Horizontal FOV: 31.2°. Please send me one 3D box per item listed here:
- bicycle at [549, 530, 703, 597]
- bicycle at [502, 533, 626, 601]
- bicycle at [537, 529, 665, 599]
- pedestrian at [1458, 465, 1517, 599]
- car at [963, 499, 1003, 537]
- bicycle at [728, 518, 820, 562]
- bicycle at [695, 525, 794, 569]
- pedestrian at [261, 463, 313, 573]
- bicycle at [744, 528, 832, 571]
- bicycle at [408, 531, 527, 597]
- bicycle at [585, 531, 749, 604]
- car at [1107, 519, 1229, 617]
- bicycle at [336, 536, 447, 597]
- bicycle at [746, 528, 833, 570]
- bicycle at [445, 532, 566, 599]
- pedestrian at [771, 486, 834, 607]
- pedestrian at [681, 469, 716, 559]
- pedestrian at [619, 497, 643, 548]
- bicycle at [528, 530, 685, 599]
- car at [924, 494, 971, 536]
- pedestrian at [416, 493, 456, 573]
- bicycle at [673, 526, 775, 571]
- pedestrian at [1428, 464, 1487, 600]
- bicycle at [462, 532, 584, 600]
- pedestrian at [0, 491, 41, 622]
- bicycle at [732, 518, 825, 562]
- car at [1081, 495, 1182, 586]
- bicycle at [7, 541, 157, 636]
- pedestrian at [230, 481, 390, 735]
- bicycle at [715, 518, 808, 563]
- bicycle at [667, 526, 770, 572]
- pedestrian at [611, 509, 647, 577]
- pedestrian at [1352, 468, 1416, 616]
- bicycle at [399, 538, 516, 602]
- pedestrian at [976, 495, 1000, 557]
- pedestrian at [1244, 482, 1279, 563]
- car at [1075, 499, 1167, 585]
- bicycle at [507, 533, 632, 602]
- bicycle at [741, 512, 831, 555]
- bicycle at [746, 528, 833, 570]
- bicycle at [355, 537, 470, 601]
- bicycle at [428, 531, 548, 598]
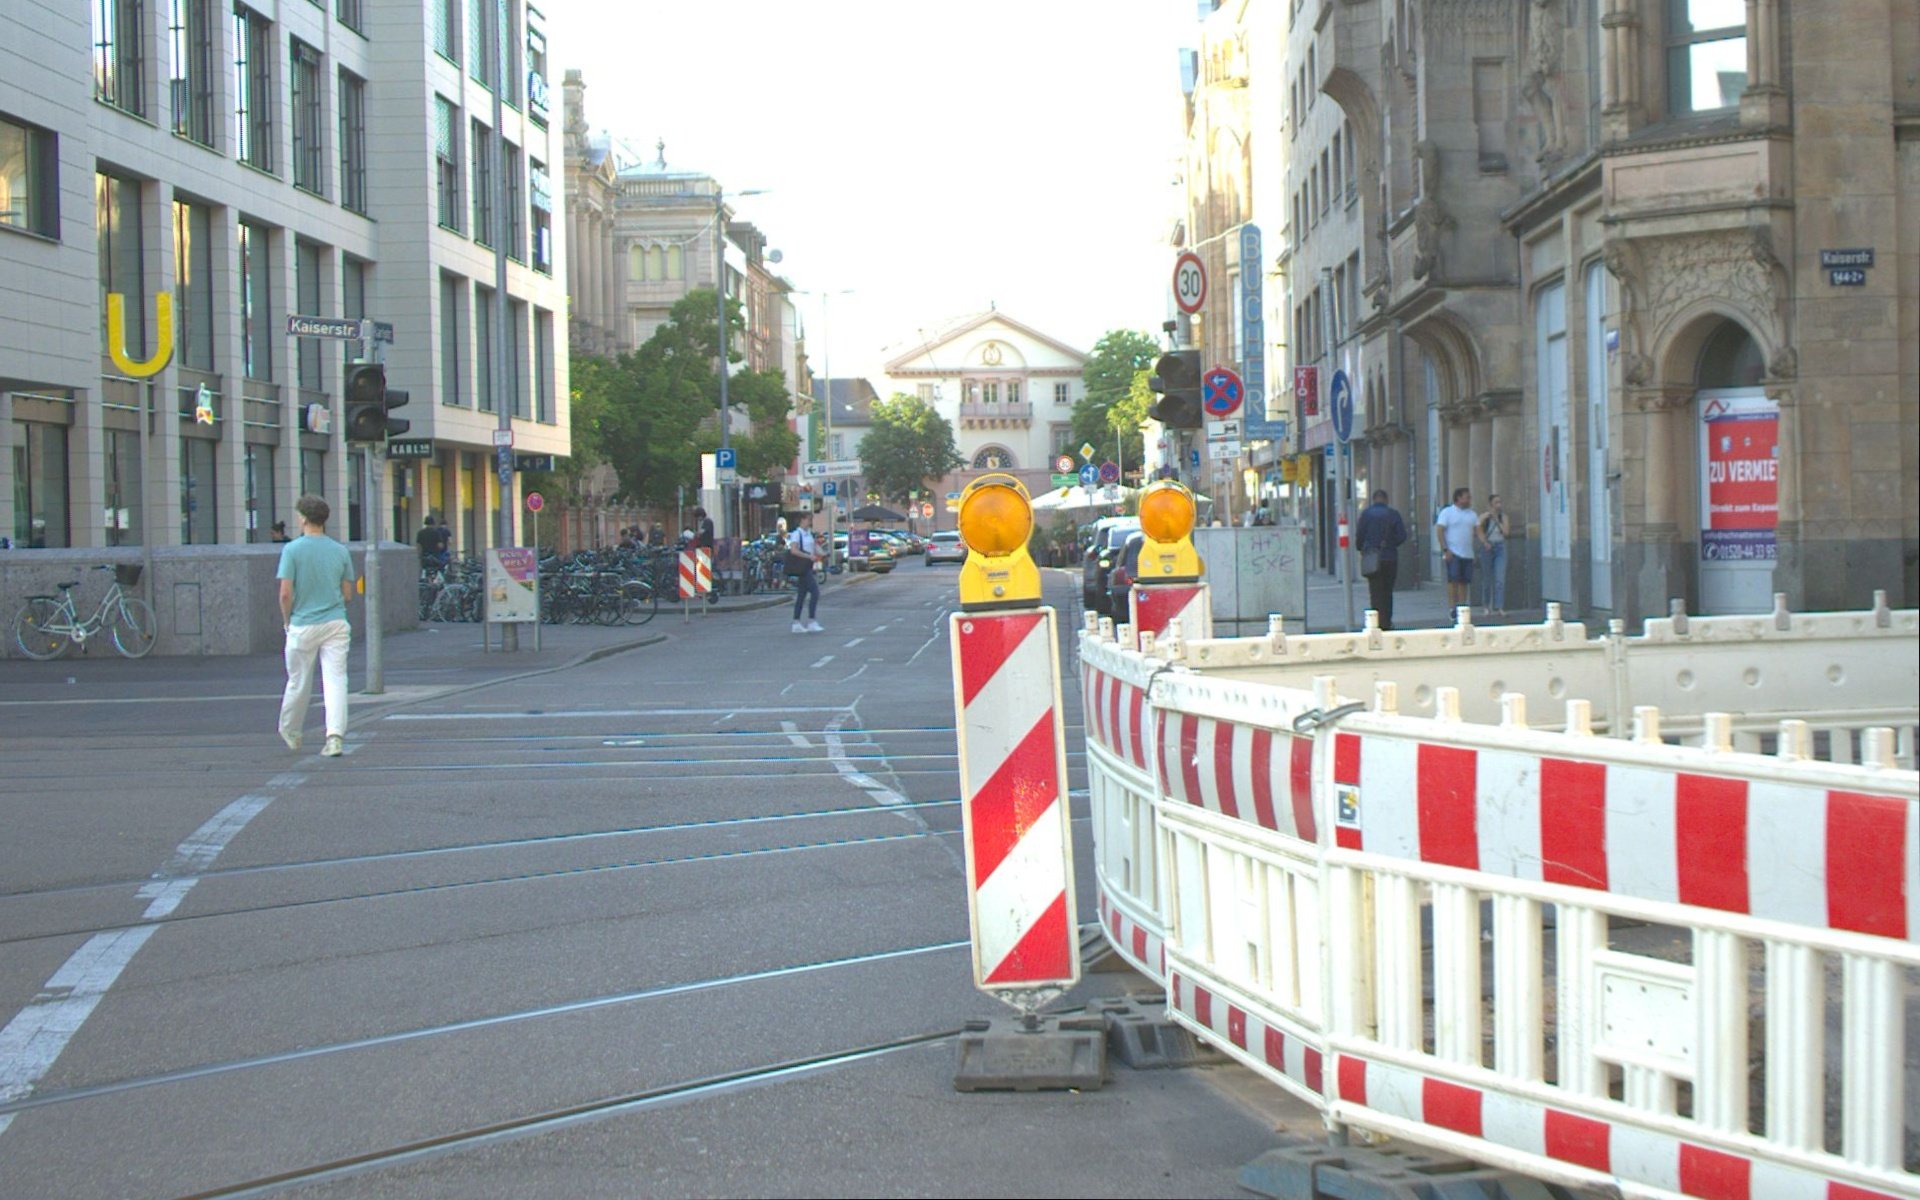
[{"bbox_3d":[-6.602,-0.731,67.986,2.886,1.251,0.804,-2,1,-24],"label":"bicycle"},{"bbox_3d":[-6.551,-0.551,56.856,1.967,1.118,0.558,0,1,-27],"label":"bicycle"},{"bbox_3d":[-5.780,-0.587,55.359,1.967,1.118,0.558,0,1,-27],"label":"bicycle"},{"bbox_3d":[6.730,-0.867,43.906,0.625,1.684,0.626,-1,1,0],"label":"pedestrian"},{"bbox_3d":[1.191,-4.225,176.532,1.993,1.897,4.000,0,1,1],"label":"car"},{"bbox_3d":[-4.523,-1.468,83.714,2.148,1.026,0.640,-1,1,4],"label":"bicycle"},{"bbox_3d":[-4.873,-1.190,77.663,2.148,0.950,0.640,-1,1,4],"label":"bicycle"},{"bbox_3d":[-10.297,-1.258,52.640,0.680,1.675,0.600,0,1,-1],"label":"pedestrian"},{"bbox_3d":[-4.329,-1.278,86.760,2.148,1.026,0.640,-1,1,4],"label":"bicycle"},{"bbox_3d":[-8.544,-0.631,59.655,1.967,1.118,0.558,0,1,-27],"label":"bicycle"},{"bbox_3d":[-5.377,-0.607,63.171,2.886,1.251,0.804,-2,1,-24],"label":"bicycle"},{"bbox_3d":[3.082,-0.507,51.556,1.679,1.419,3.673,0,1,1],"label":"car"},{"bbox_3d":[-10.586,-0.620,64.006,1.967,1.118,0.558,0,1,-27],"label":"bicycle"},{"bbox_3d":[-4.394,-1.321,88.524,2.148,1.026,0.640,-1,1,4],"label":"bicycle"},{"bbox_3d":[-7.721,-0.595,58.393,1.967,1.118,0.558,0,1,-27],"label":"bicycle"},{"bbox_3d":[-2.282,-0.774,49.701,0.834,1.715,0.682,-1,1,-6],"label":"pedestrian"},{"bbox_3d":[-5.385,-1.771,70.788,0.657,1.817,0.528,-1,1,-8],"label":"pedestrian"},{"bbox_3d":[-10.405,-2.454,108.764,0.679,1.615,0.573,-1,1,1],"label":"pedestrian"},{"bbox_3d":[-6.824,-0.696,66.503,2.886,1.251,0.804,-2,1,-24],"label":"bicycle"},{"bbox_3d":[-0.542,-3.830,154.983,1.993,1.897,4.000,0,1,1],"label":"car"},{"bbox_3d":[-10.711,-1.379,70.288,0.679,1.615,0.573,-1,1,1],"label":"pedestrian"},{"bbox_3d":[-5.219,-1.138,76.095,2.148,0.950,0.640,-1,1,4],"label":"bicycle"},{"bbox_3d":[6.258,-0.863,43.263,0.625,1.684,0.671,-1,1,0],"label":"pedestrian"},{"bbox_3d":[-7.334,-0.577,57.738,1.967,1.118,0.558,0,1,-27],"label":"bicycle"},{"bbox_3d":[-12.829,-0.587,46.250,0.782,1.745,0.600,0,1,-1],"label":"pedestrian"},{"bbox_3d":[-4.377,-1.449,82.978,2.148,1.026,0.640,-1,1,4],"label":"bicycle"},{"bbox_3d":[3.087,-1.099,62.499,1.679,1.542,3.673,-2,1,1],"label":"car"},{"bbox_3d":[-10.523,-0.142,41.212,1.696,1.118,0.451,0,1,5],"label":"bicycle"},{"bbox_3d":[-4.580,0.043,24.255,0.866,1.755,0.767,1,1,14],"label":"pedestrian"},{"bbox_3d":[-4.744,-1.432,82.200,2.148,1.026,0.640,-1,1,4],"label":"bicycle"},{"bbox_3d":[-5.230,-1.101,74.524,2.148,0.950,0.640,-1,1,4],"label":"bicycle"},{"bbox_3d":[-7.571,-1.305,78.624,0.751,1.524,0.485,-1,1,1],"label":"pedestrian"},{"bbox_3d":[4.925,-0.675,39.920,0.625,1.684,0.671,-1,1,0],"label":"pedestrian"},{"bbox_3d":[-8.869,-0.530,60.751,1.967,1.118,0.558,0,1,-27],"label":"bicycle"},{"bbox_3d":[0.836,-2.212,102.417,0.599,1.817,0.452,-1,1,-9],"label":"pedestrian"},{"bbox_3d":[6.330,-1.631,72.220,0.643,1.684,0.671,-1,1,0],"label":"pedestrian"},{"bbox_3d":[3.169,-1.166,68.258,1.679,1.608,4.028,-2,1,1],"label":"car"},{"bbox_3d":[-6.374,-0.532,56.132,1.967,1.118,0.558,0,1,-27],"label":"bicycle"},{"bbox_3d":[-4.347,-1.665,85.982,2.148,1.026,0.640,-1,1,4],"label":"bicycle"},{"bbox_3d":[-4.358,-1.303,87.797,2.148,1.026,0.640,-1,1,4],"label":"bicycle"},{"bbox_3d":[-9.844,-0.562,61.833,1.967,1.118,0.558,0,1,-27],"label":"bicycle"},{"bbox_3d":[-8.104,-0.613,59.035,1.967,1.118,0.558,0,1,-27],"label":"bicycle"}]
